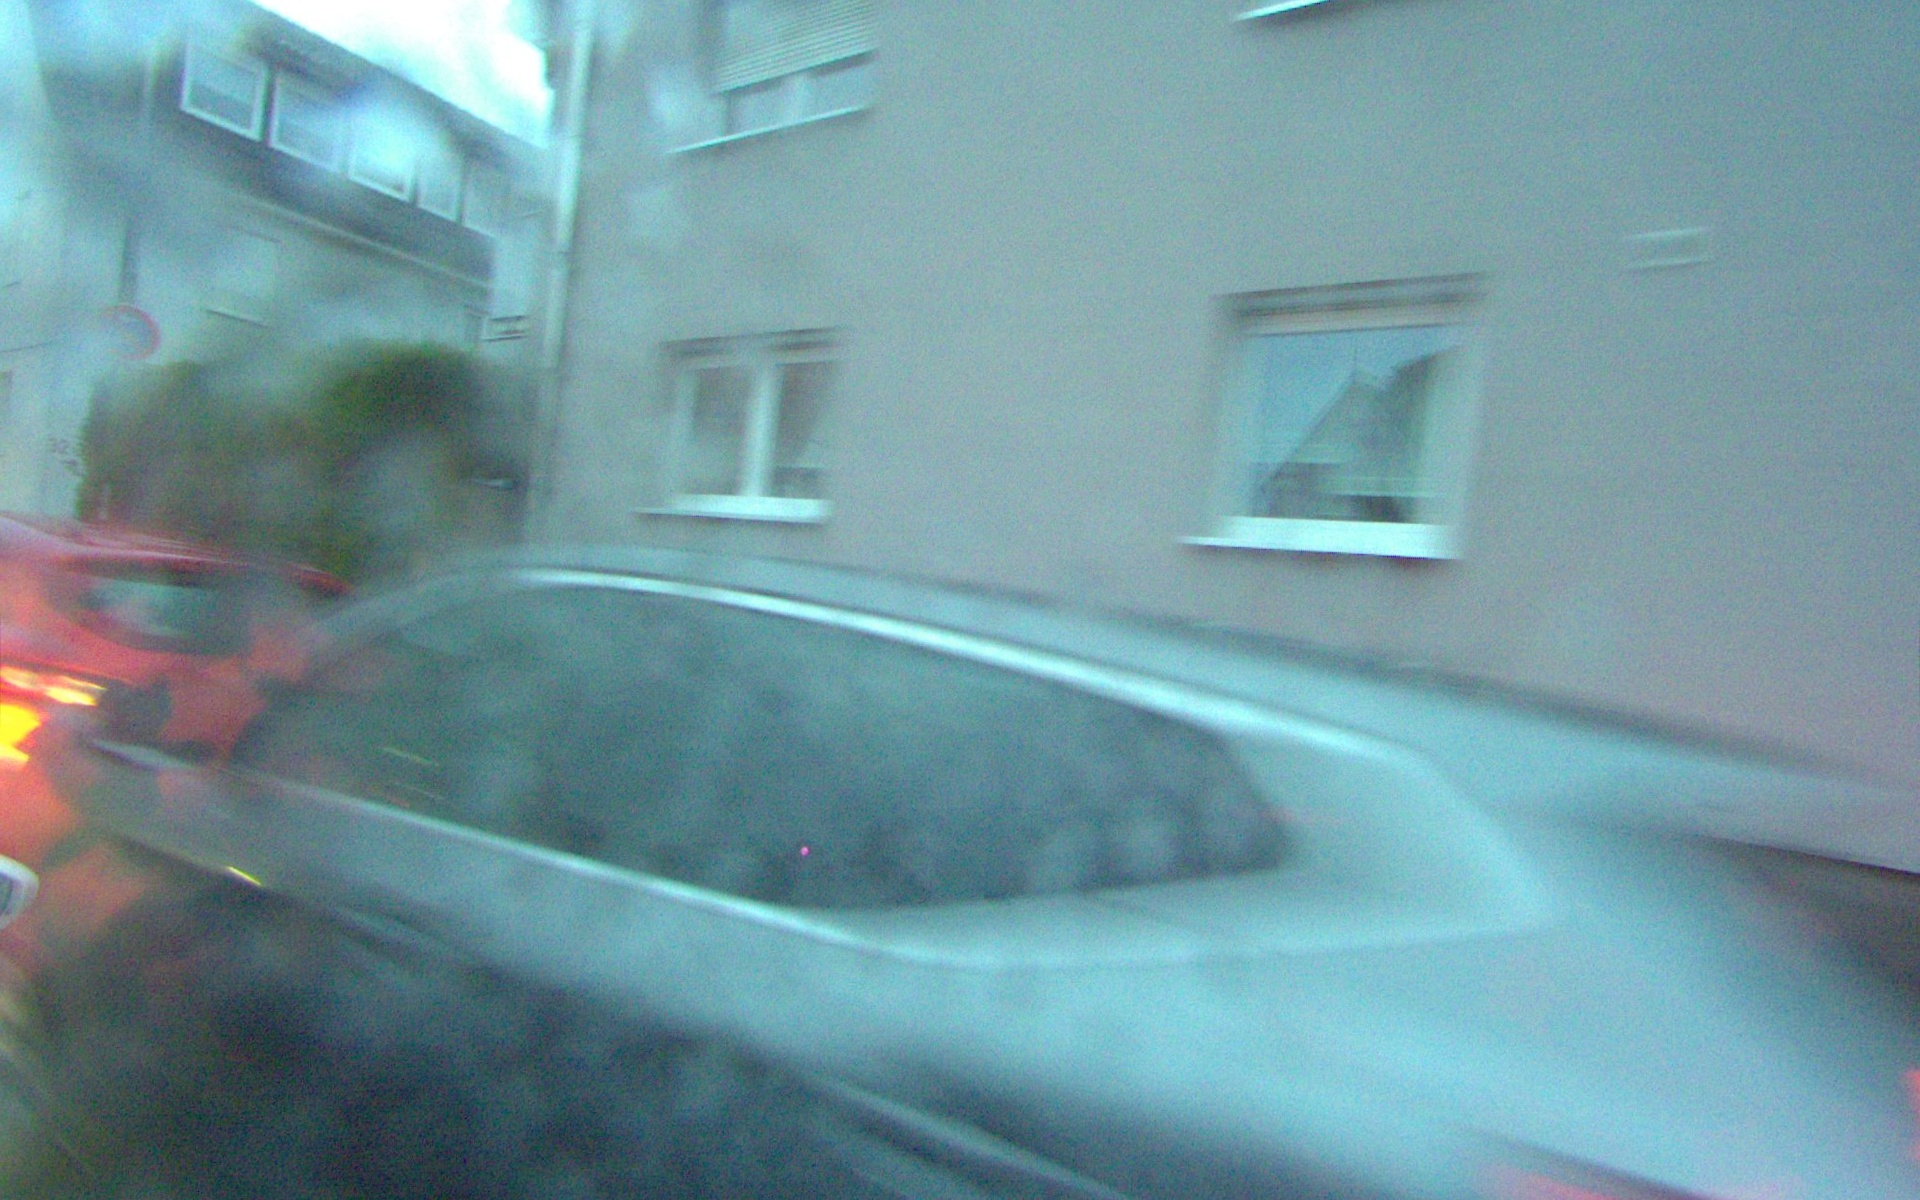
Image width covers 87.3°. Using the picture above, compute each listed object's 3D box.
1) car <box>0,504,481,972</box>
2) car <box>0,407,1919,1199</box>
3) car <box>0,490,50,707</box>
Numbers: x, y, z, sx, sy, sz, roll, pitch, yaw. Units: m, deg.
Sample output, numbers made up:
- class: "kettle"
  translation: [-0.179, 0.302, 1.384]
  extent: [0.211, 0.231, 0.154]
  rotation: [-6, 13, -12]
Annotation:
- class: "car"
  translation: [-4.135, 0.319, 4.602]
  extent: [3.689, 1.412, 1.682]
  rotation: [7, -1, 32]
- class: "car"
  translation: [-0.536, 0.581, 2.186]
  extent: [3.933, 1.552, 1.801]
  rotation: [7, -1, 31]
- class: "car"
  translation: [-8.610, -0.242, 7.542]
  extent: [3.691, 1.526, 1.726]
  rotation: [7, -1, 34]
